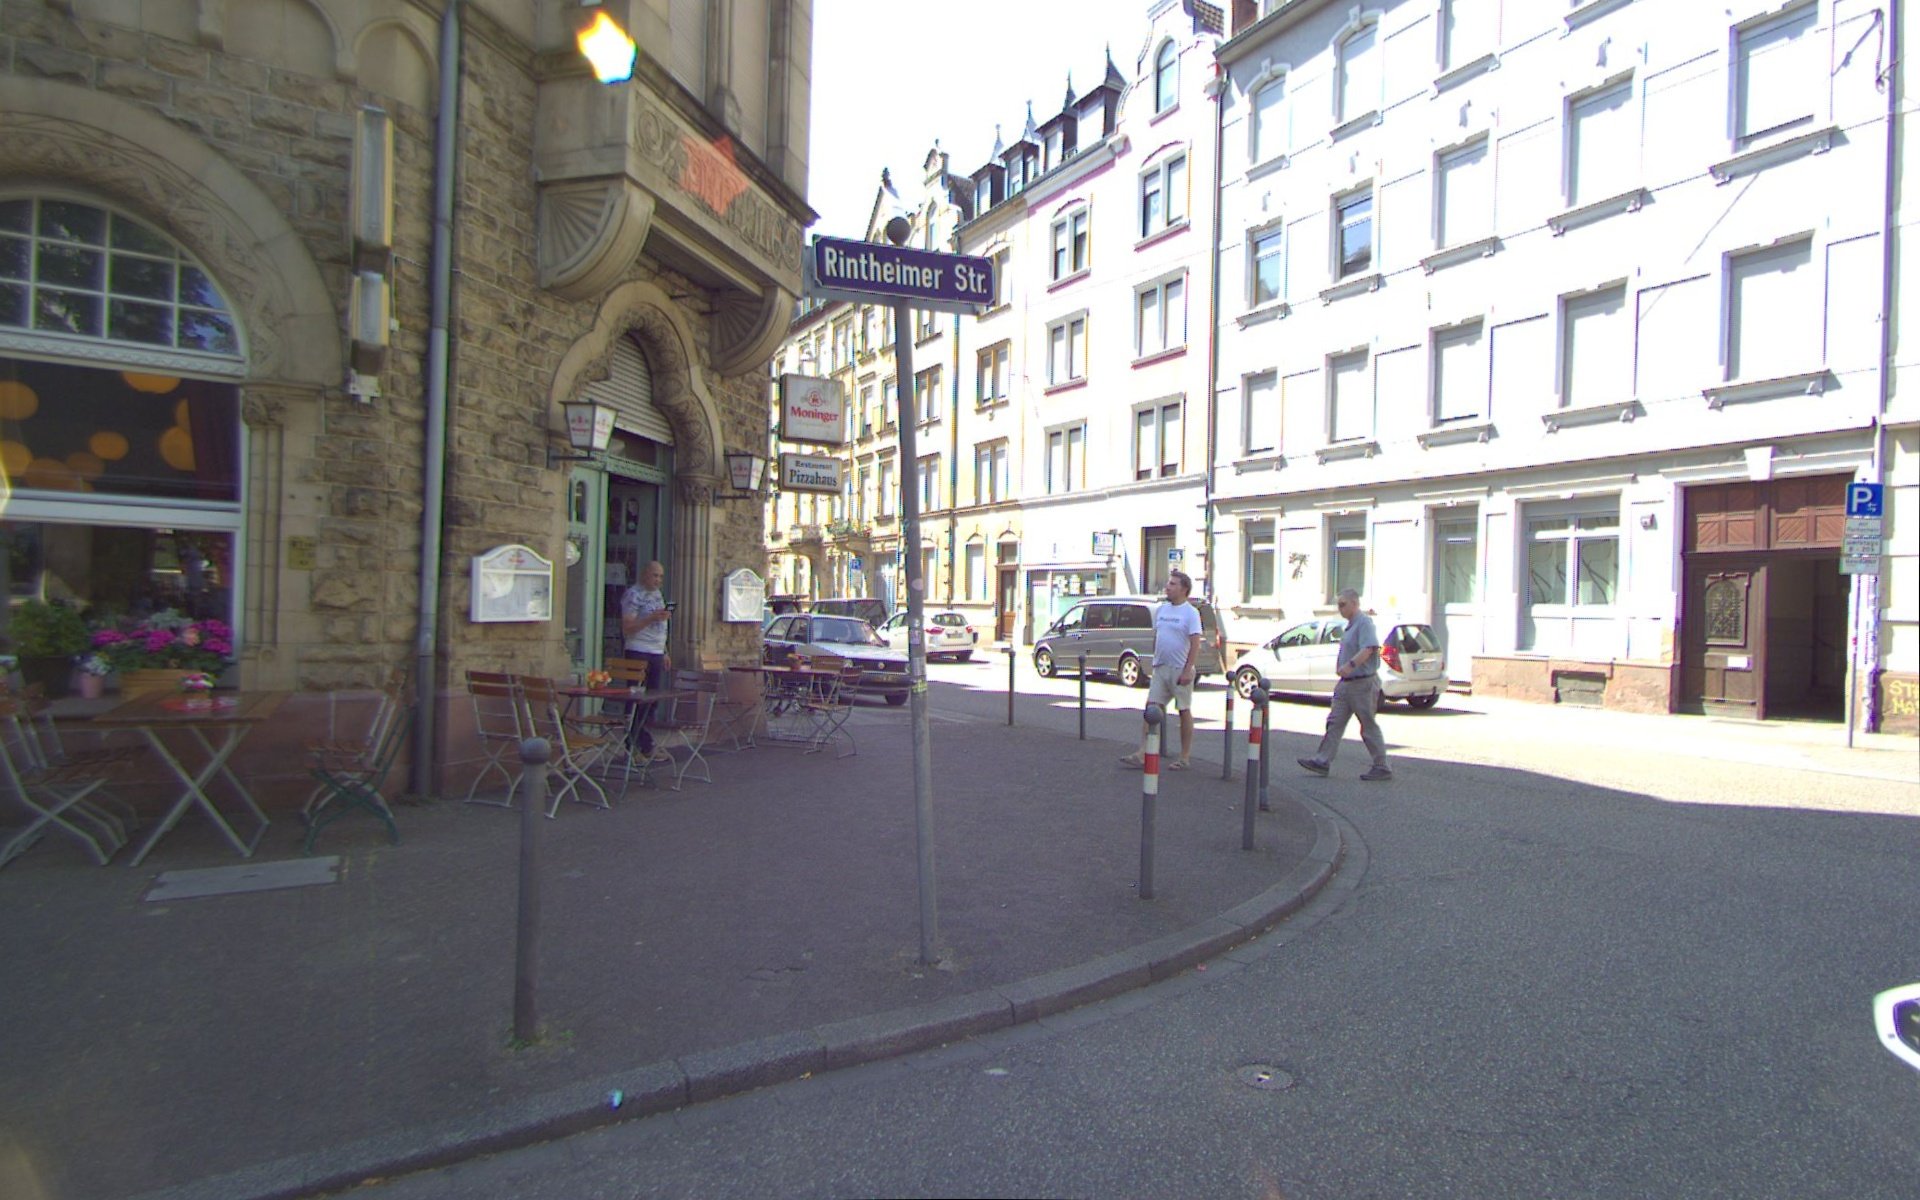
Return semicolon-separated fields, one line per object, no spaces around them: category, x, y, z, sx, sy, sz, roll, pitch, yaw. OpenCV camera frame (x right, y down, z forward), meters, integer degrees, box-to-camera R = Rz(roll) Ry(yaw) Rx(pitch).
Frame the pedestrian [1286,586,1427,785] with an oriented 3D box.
pedestrian;3.837;0.807;9.773;0.942;1.838;0.903;1;-1;-8

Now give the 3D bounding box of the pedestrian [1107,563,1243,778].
pedestrian;2.032;0.649;9.555;0.923;1.914;0.847;2;-1;-25

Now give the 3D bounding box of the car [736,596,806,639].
car;-8.222;0.760;43.493;1.703;1.753;3.812;1;-1;-32

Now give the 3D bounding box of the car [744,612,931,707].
car;-2.206;0.971;17.265;1.703;1.444;3.812;4;-3;-32

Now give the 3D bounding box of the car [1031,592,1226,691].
car;3.714;0.868;23.036;1.855;2.024;4.682;0;-1;-31

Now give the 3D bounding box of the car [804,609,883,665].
car;-4.206;1.277;35.890;1.531;1.910;3.331;1;-1;-32

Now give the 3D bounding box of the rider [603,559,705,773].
rider;-2.559;0.533;8.446;0.530;1.719;0.642;1;-1;14

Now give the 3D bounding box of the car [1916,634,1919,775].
car;11.939;1.077;8.808;1.977;1.456;4.836;2;-2;-30

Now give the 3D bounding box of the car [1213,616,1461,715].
car;6.746;1.109;18.369;1.787;1.582;4.025;2;-2;-31

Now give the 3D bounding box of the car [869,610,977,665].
car;-1.212;1.127;31.278;1.703;1.603;3.812;1;-1;-32

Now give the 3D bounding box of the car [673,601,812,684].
car;-4.788;0.888;21.770;1.703;1.603;3.812;4;-3;-32
